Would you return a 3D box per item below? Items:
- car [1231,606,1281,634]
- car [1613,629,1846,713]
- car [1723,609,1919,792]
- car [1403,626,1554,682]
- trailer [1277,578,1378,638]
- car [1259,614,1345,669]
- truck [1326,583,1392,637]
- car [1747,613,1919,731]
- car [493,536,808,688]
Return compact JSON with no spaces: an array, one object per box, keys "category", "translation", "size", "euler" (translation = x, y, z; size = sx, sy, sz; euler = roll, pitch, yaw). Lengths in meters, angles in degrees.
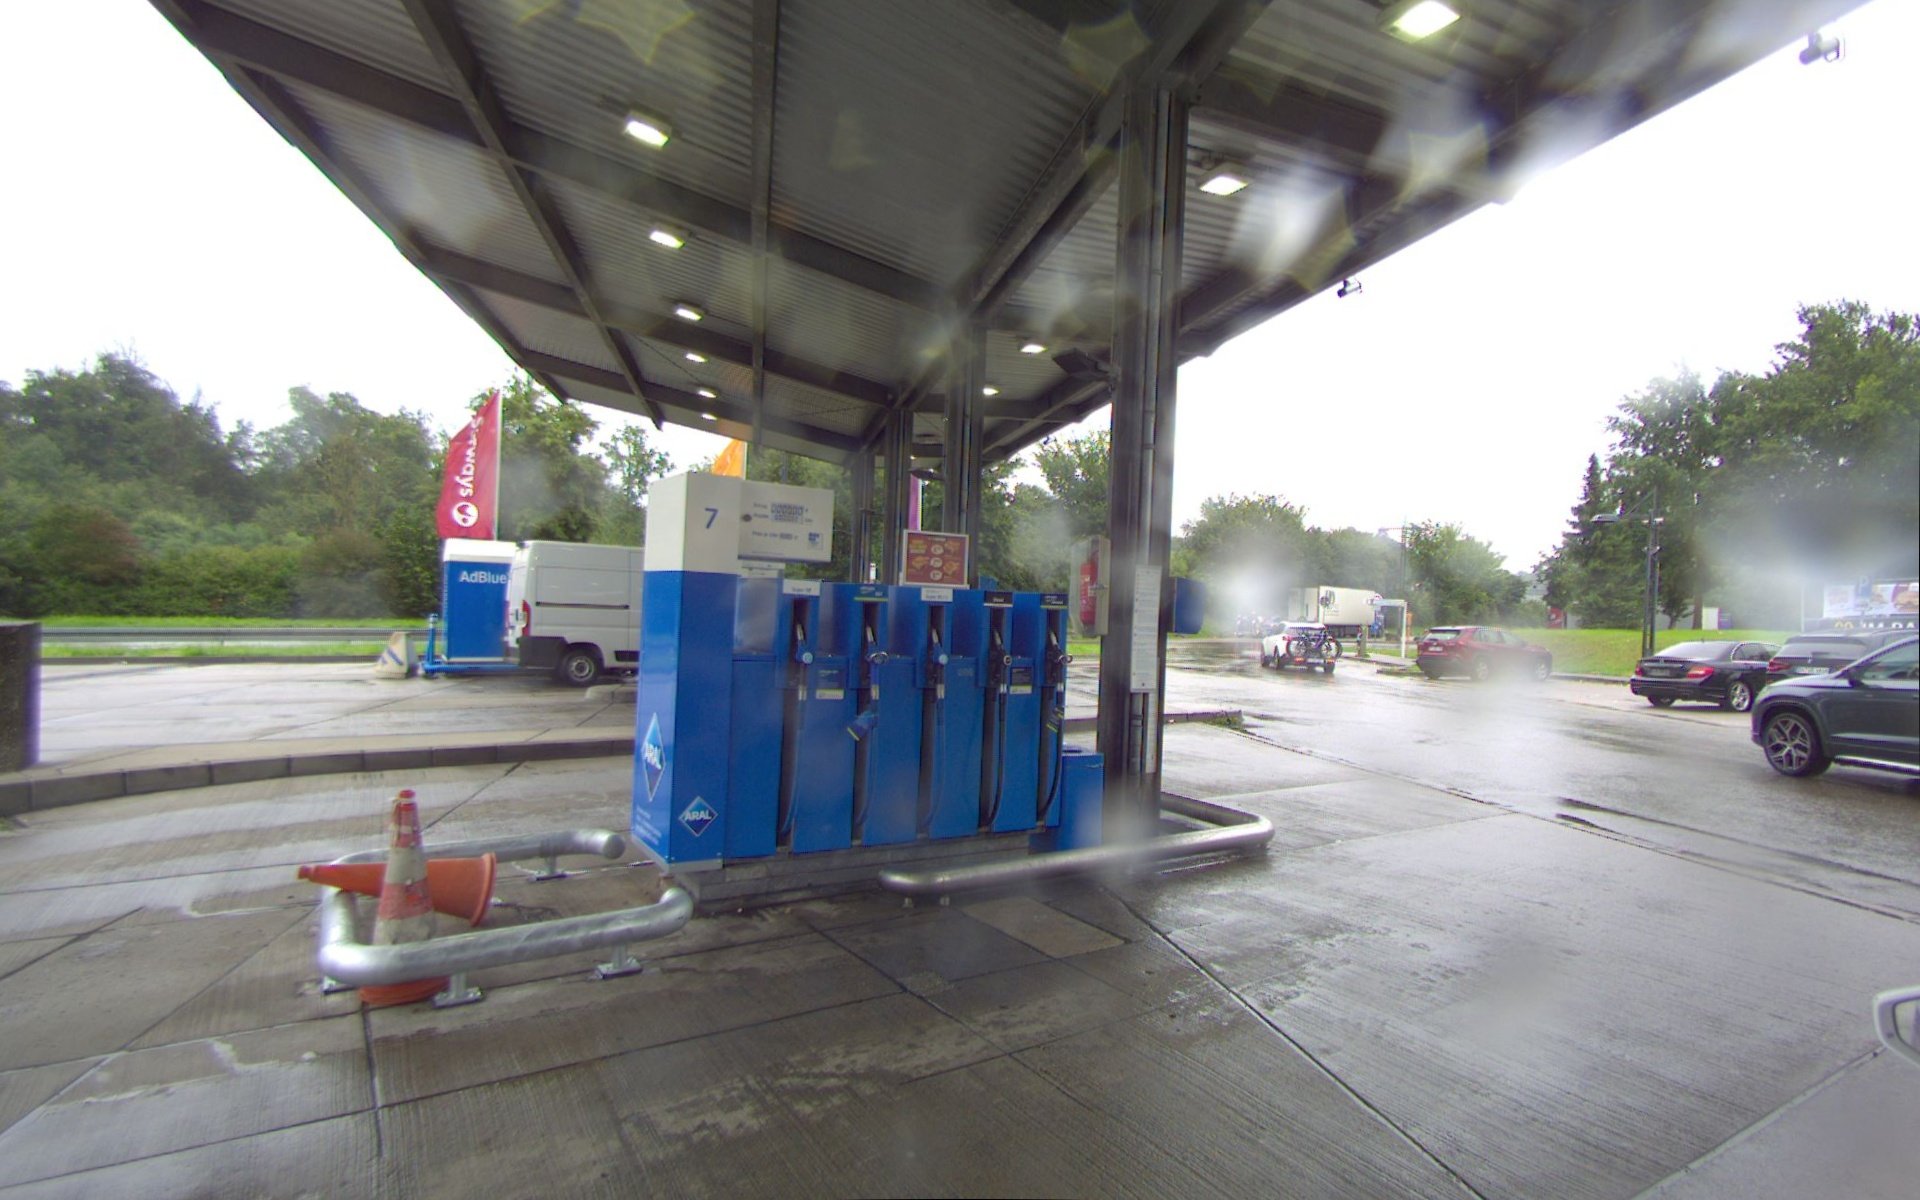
[{"category":"car","translation":[20.900,1.414,70.833],"size":[1.903,1.862,4.373],"euler":[1,0,38]},{"category":"car","translation":[15.932,1.416,20.824],"size":[4.119,1.585,1.883],"euler":[1,-1,-19]},{"category":"car","translation":[9.487,0.920,9.022],"size":[1.853,1.608,4.325],"euler":[1,0,-2]},{"category":"car","translation":[15.994,1.644,30.971],"size":[4.294,1.617,1.879],"euler":[1,-1,-24]},{"category":"trailer","translation":[30.901,0.751,83.858],"size":[3.416,4.618,13.847],"euler":[2,0,40]},{"category":"car","translation":[11.182,1.290,33.139],"size":[1.783,1.586,5.007],"euler":[1,0,9]},{"category":"truck","translation":[35.573,0.921,89.462],"size":[3.416,4.618,6.704],"euler":[2,0,40]},{"category":"car","translation":[16.145,1.188,17.405],"size":[4.344,1.852,1.883],"euler":[1,-1,-19]},{"category":"car","translation":[-5.747,0.263,18.906],"size":[5.227,2.496,2.306],"euler":[1,-1,-34]}]
